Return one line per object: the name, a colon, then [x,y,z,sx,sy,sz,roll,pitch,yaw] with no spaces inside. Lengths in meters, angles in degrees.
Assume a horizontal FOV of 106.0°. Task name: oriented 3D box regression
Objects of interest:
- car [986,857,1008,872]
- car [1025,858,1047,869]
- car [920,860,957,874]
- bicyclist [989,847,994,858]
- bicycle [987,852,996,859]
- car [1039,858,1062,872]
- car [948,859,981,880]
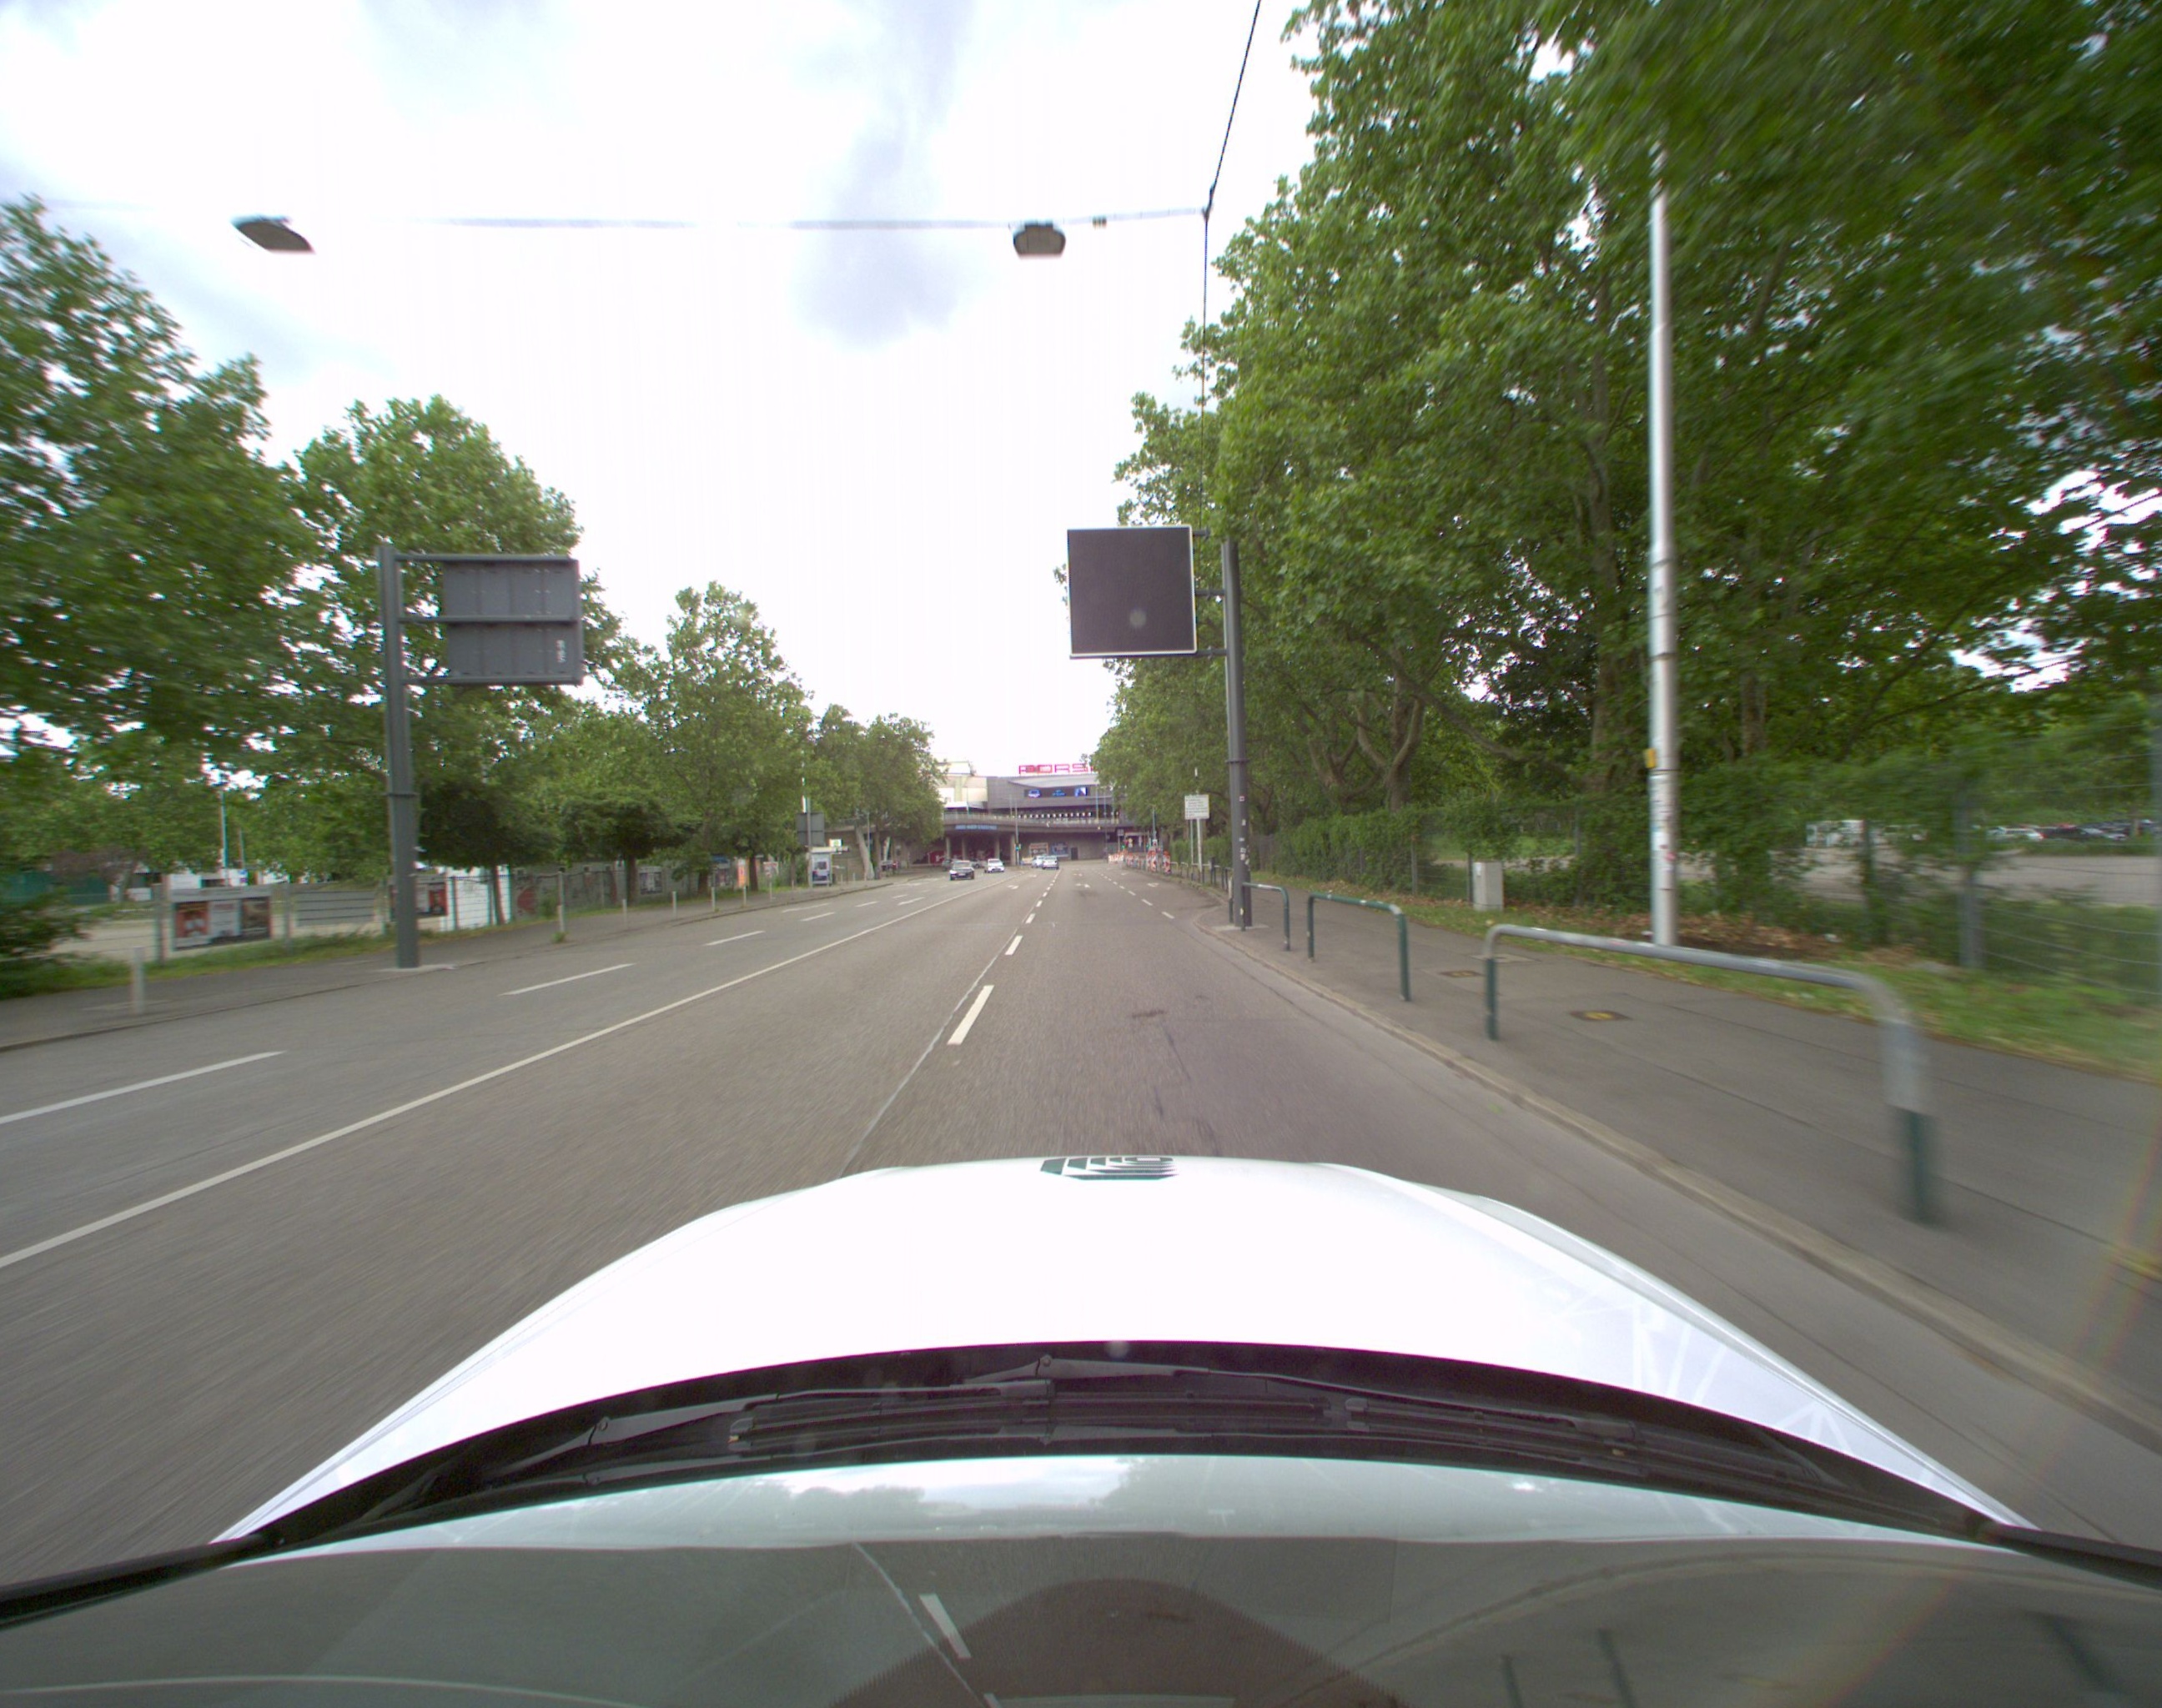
car: [-8.997,1.098,87.273,1.988,1.530,4.381,-3,0,-2]
car: [-5.692,1.169,102.691,1.618,1.313,3.369,-1,0,-24]
car: [-17.923,1.600,102.741,4.363,1.530,1.997,-3,0,-5]
bicyclist: [-14.822,-0.225,134.796,0.850,1.697,0.765,0,-1,-5]
bicycle: [-14.813,0.233,134.786,1.530,1.013,0.516,-1,-1,-5]
car: [-3.427,1.188,90.924,1.993,1.418,3.987,-2,0,-9]
car: [-9.085,1.190,64.099,1.988,1.530,4.722,-3,0,-2]
